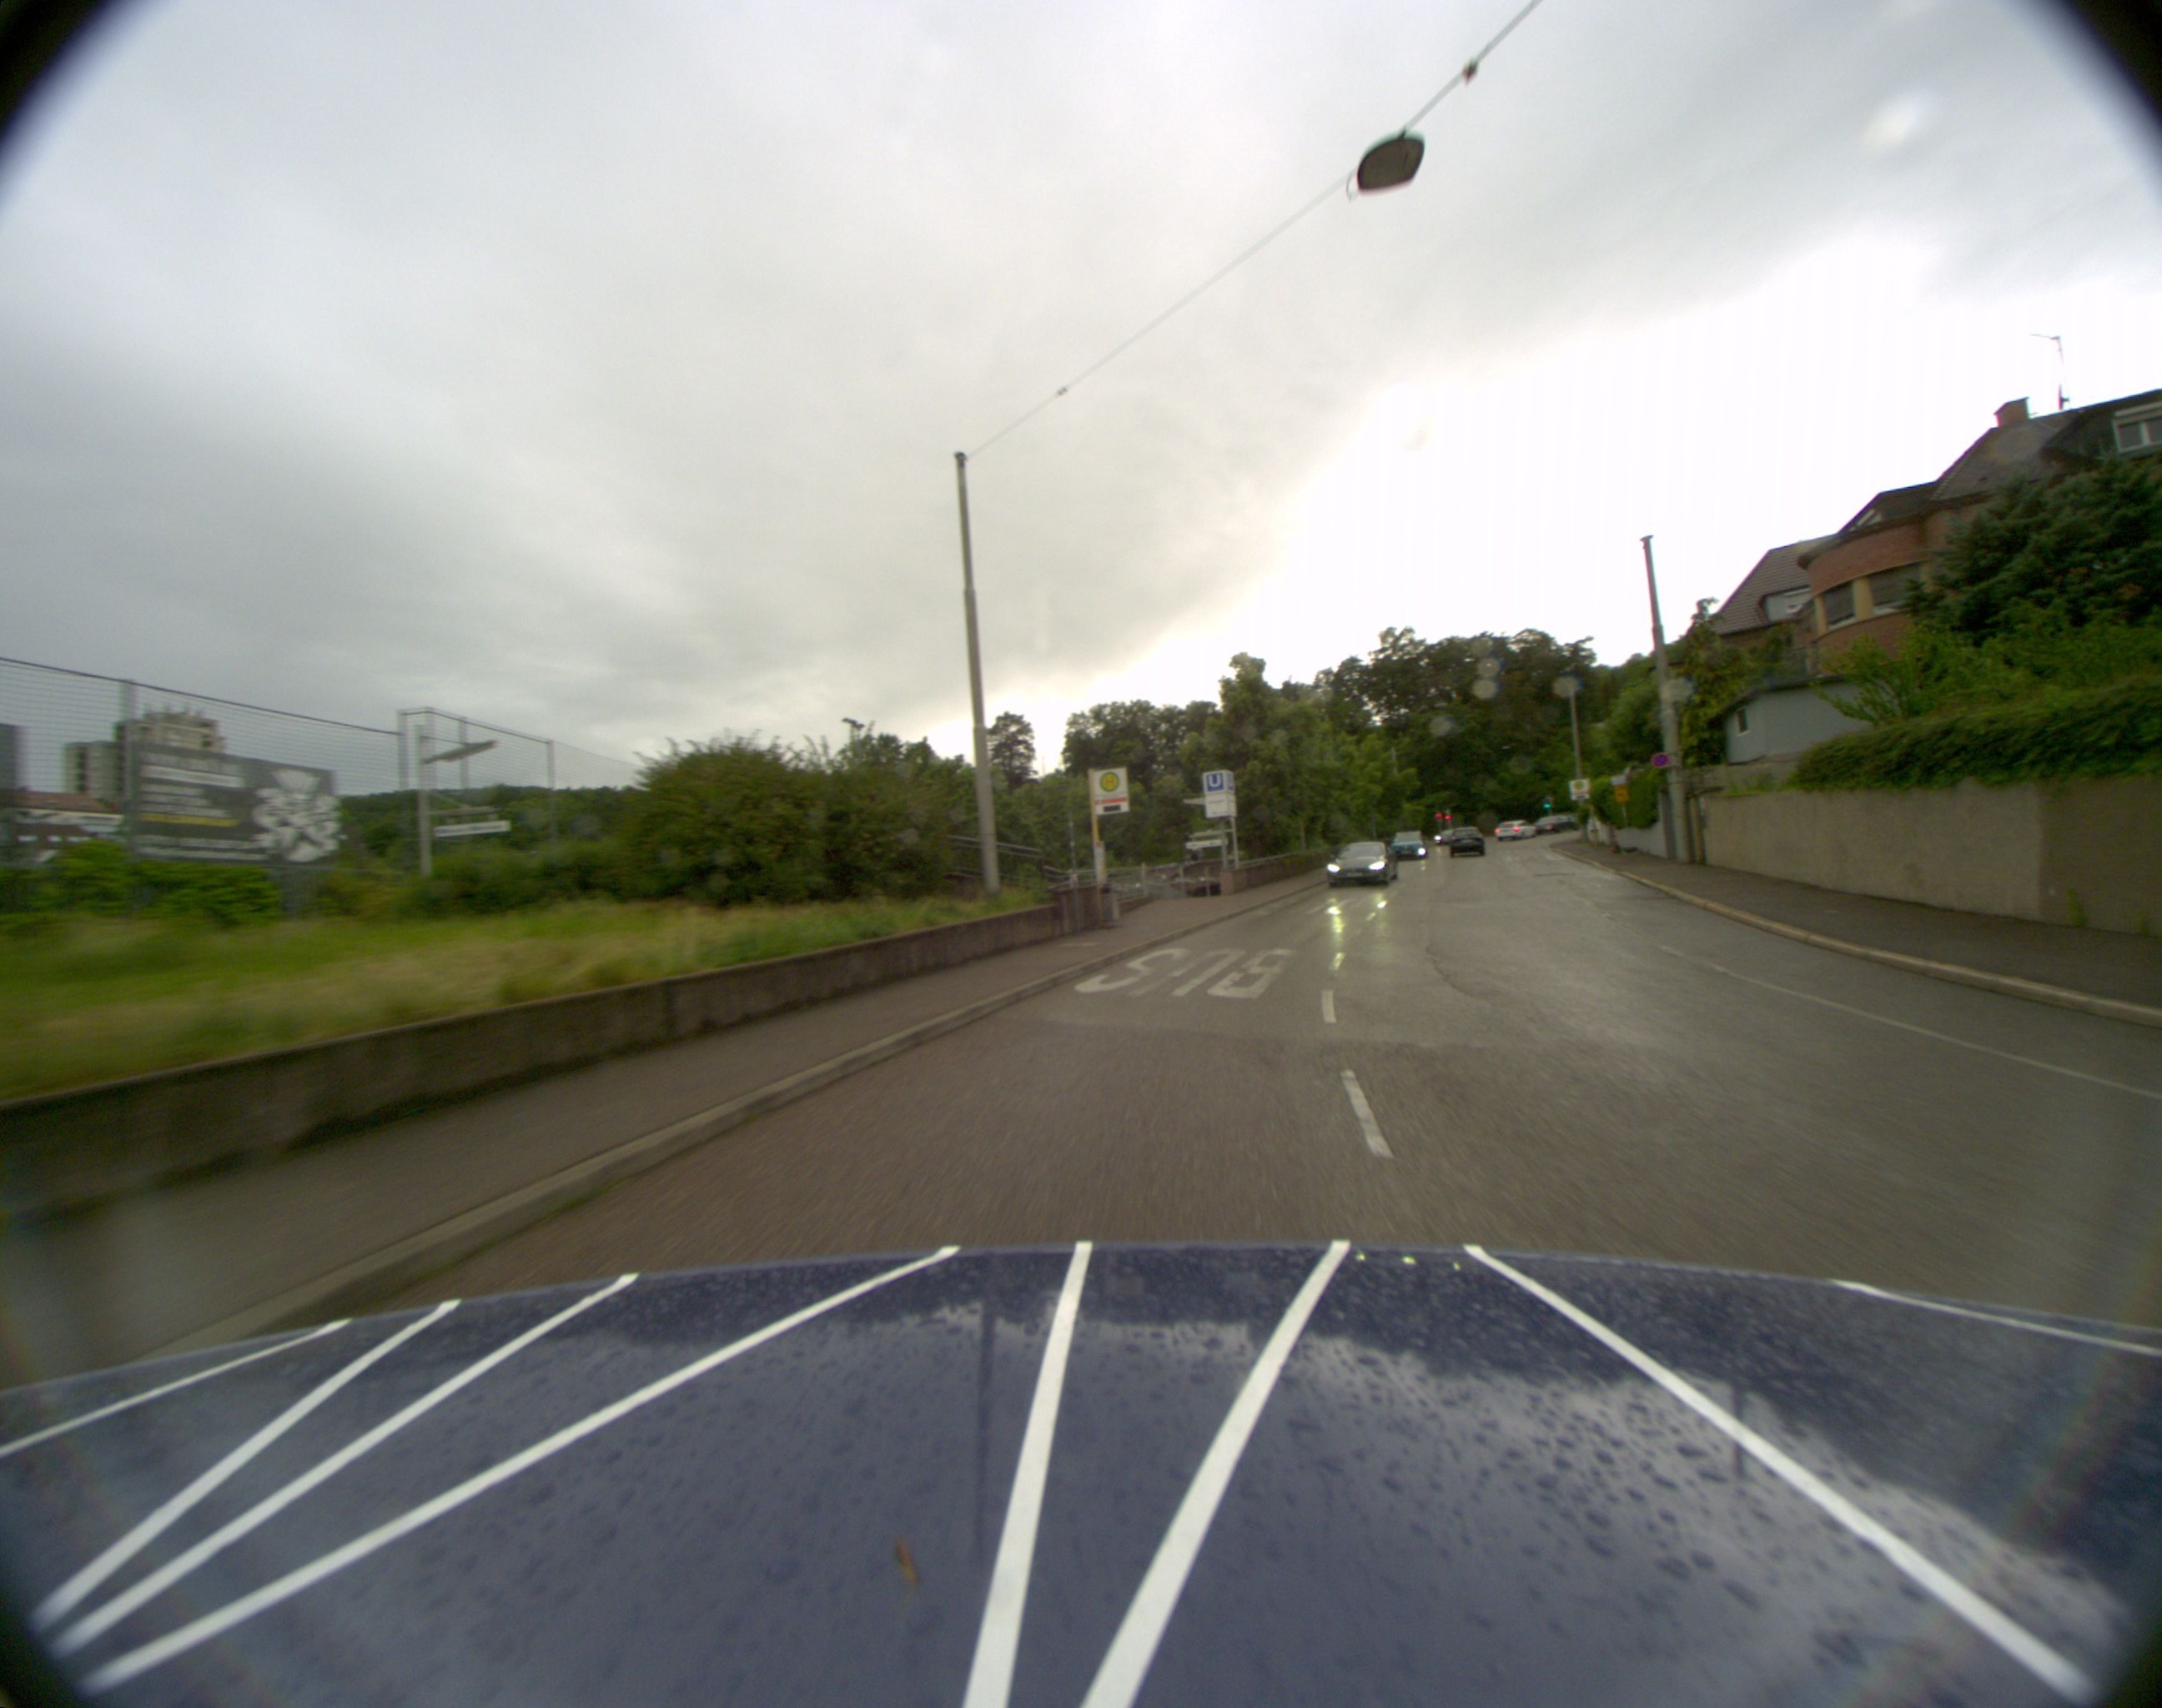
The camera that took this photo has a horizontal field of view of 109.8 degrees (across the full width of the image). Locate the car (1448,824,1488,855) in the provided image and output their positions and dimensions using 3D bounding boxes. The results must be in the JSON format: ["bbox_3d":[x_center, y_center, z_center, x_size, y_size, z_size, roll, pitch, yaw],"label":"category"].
[{"bbox_3d":[21.194,-0.831,41.581,1.769,1.512,3.981,-4,0,27],"label":"car"}]

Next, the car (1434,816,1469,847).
[{"bbox_3d":[31.072,-1.822,63.683,1.995,1.999,4.011,-7,-8,33],"label":"car"}]

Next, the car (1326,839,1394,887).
[{"bbox_3d":[9.919,0.272,26.799,1.832,1.384,4.330,-3,1,25],"label":"car"}]

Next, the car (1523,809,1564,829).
[{"bbox_3d":[39.447,-3.008,64.959,1.861,1.387,4.600,-6,1,18],"label":"car"}]

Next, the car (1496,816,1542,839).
[{"bbox_3d":[34.692,-2.124,60.163,4.448,1.466,1.849,-5,2,-42],"label":"car"}]

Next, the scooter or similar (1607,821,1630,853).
[{"bbox_3d":[20.996,-0.662,29.695,0.523,1.197,1.437,-3,1,28],"label":"scooter or similar"}]

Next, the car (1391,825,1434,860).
[{"bbox_3d":[18.845,-0.601,43.126,1.798,1.599,4.050,-6,-4,27],"label":"car"}]
